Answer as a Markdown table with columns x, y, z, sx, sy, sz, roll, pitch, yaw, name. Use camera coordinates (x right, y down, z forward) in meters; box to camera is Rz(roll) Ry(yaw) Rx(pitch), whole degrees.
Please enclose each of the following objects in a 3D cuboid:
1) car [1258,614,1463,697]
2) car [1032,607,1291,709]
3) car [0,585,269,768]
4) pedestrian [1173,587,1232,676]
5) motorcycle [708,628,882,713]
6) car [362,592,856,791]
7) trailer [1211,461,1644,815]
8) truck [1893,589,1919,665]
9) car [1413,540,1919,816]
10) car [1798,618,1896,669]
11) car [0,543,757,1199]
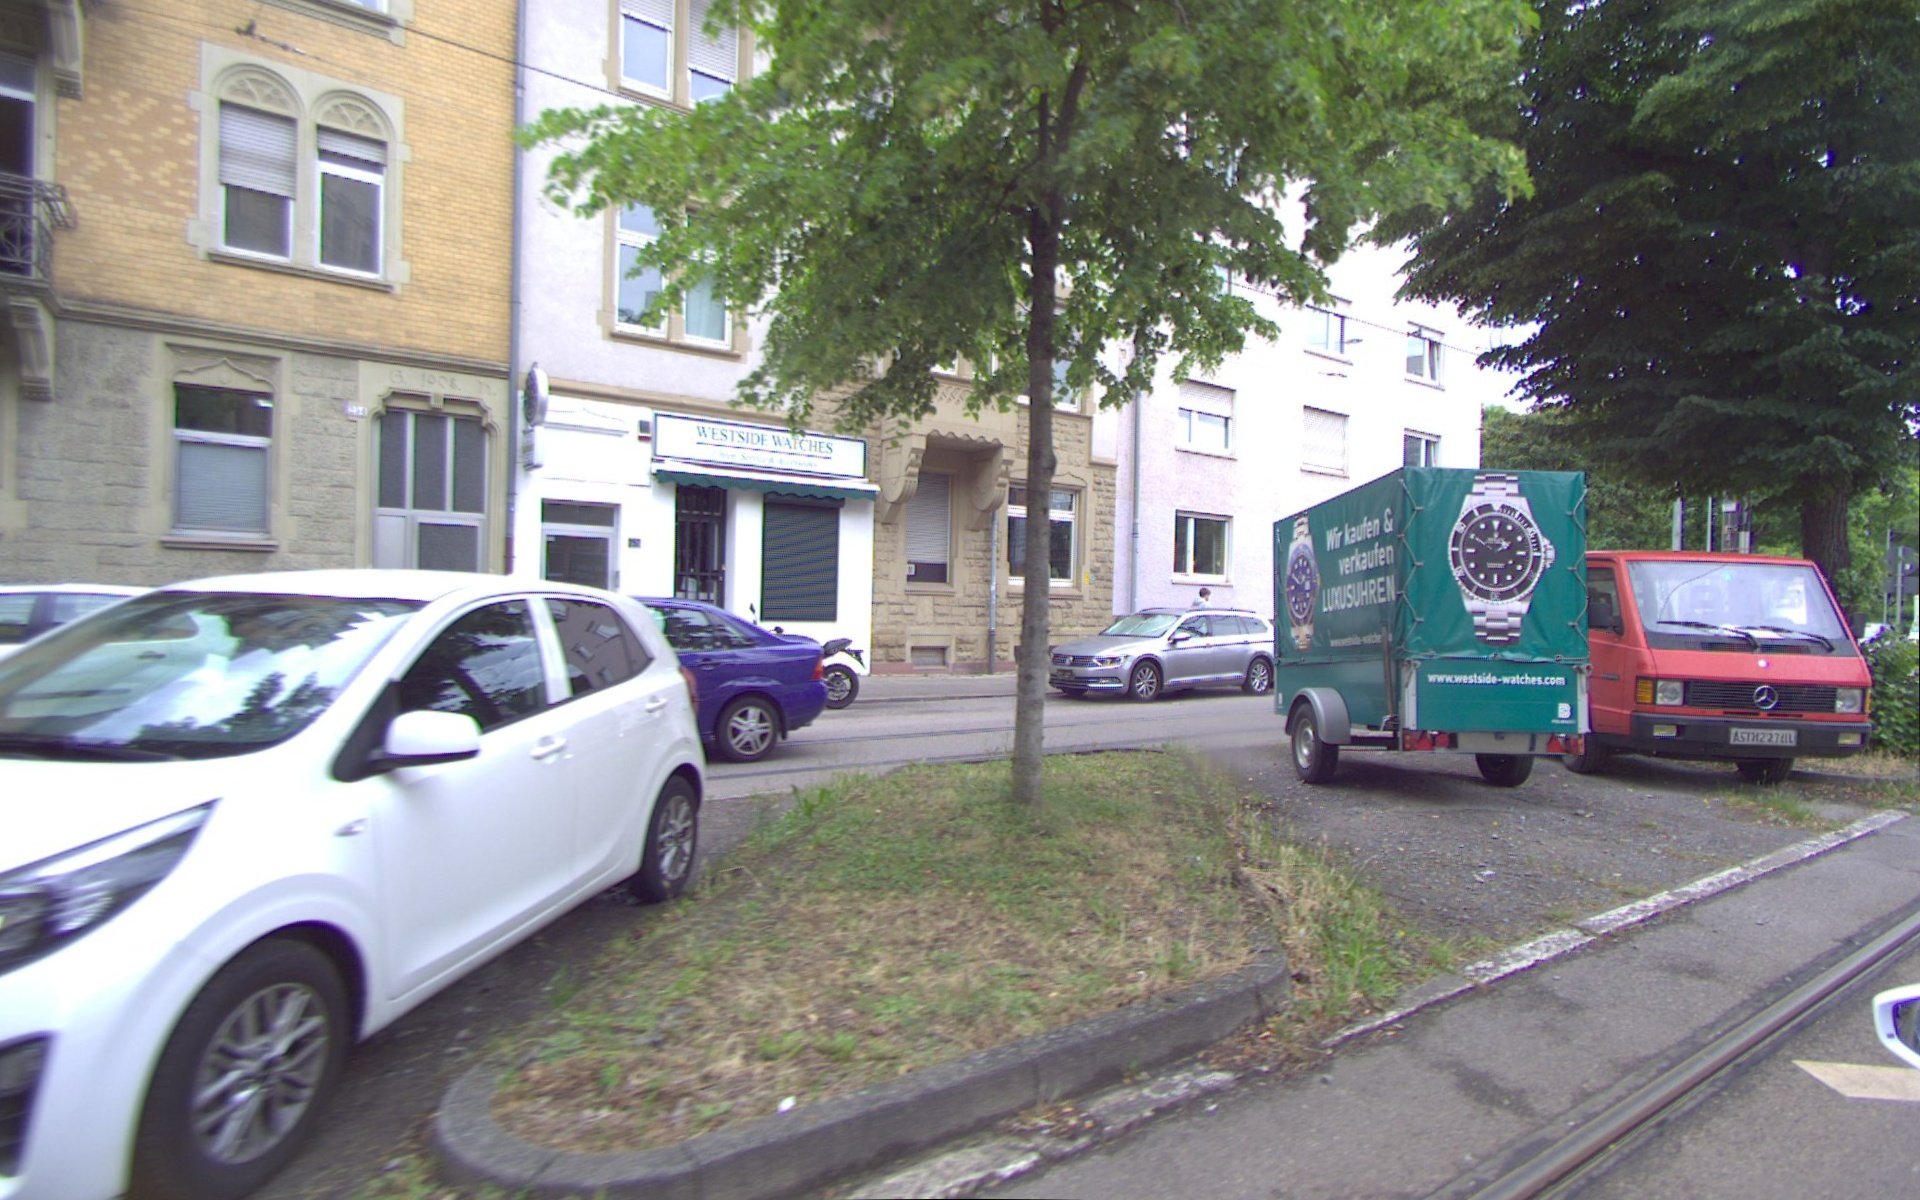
| x | y | z | sx | sy | sz | roll | pitch | yaw | name |
| --- | --- | --- | --- | --- | --- | --- | --- | --- | --- |
| 8.145 | 1.058 | 20.225 | 4.718 | 1.462 | 1.623 | 1 | 0 | -37 | car |
| 3.449 | 0.906 | 16.743 | 4.528 | 1.462 | 1.623 | 1 | 0 | -37 | car |
| -8.334 | 0.602 | 8.629 | 3.887 | 1.462 | 1.623 | 1 | 0 | -37 | car |
| 5.028 | 0.647 | 20.822 | 0.891 | 1.790 | 0.792 | 1 | 0 | -36 | pedestrian |
| -2.203 | 0.932 | 13.398 | 2.195 | 1.052 | 0.708 | 2 | 0 | -19 | motorcycle |
| -3.012 | 0.700 | 8.953 | 3.846 | 1.401 | 1.632 | 2 | 0 | -36 | car |
| 3.646 | 0.274 | 8.664 | 1.893 | 2.376 | 3.670 | 1 | 0 | -2 | trailer |
| 43.187 | 1.233 | 44.077 | 7.268 | 3.199 | 2.167 | 2 | 0 | -39 | truck |
| 6.357 | 0.588 | 9.815 | 1.920 | 2.000 | 4.770 | 1 | 0 | 3 | car |
| 29.602 | 1.447 | 33.496 | 4.094 | 1.555 | 1.632 | 2 | 0 | -37 | car |
| -2.163 | 0.641 | 3.556 | 1.655 | 1.482 | 3.865 | 1 | 0 | 7 | car |
